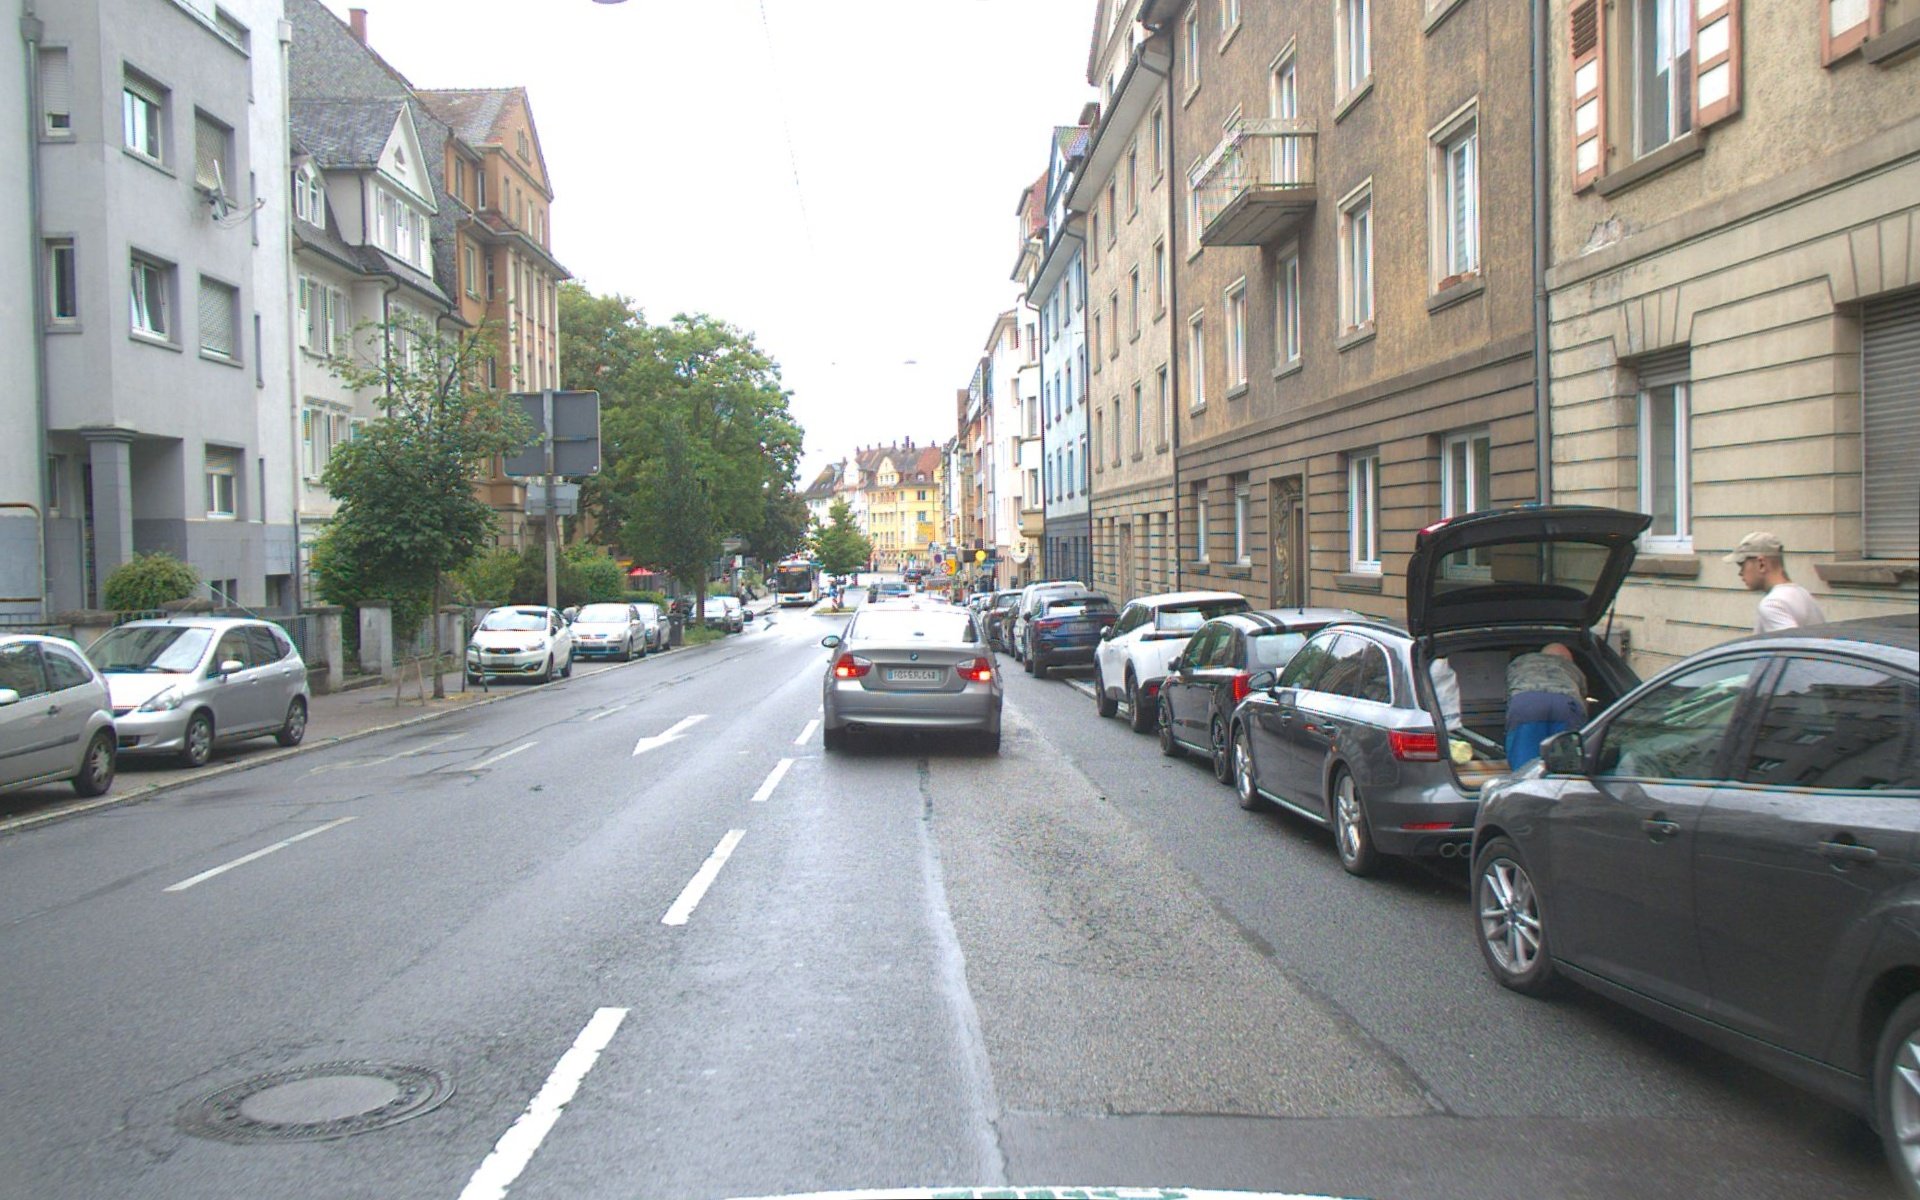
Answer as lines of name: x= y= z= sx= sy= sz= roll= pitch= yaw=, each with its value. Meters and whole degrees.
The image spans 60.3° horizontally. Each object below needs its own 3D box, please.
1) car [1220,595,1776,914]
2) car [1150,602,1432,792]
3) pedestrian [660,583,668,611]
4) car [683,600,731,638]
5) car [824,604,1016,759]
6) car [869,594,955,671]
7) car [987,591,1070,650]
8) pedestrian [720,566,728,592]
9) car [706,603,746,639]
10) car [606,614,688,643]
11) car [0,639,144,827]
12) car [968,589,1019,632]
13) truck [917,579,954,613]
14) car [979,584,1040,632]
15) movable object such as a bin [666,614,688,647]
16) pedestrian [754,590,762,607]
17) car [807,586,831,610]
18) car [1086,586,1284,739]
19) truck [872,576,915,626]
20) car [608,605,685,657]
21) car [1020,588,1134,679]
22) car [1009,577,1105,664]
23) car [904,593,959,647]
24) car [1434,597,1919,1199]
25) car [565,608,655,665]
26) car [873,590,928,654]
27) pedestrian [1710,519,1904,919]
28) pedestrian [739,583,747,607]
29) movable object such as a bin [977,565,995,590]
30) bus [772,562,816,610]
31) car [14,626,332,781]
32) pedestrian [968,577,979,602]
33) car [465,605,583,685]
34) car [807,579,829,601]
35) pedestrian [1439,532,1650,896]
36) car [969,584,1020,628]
car: x=3.005 y=0.774 z=10.400 sx=1.742 sy=1.505 sz=4.584 roll=-2 pitch=-1 yaw=-3
car: x=2.903 y=0.790 z=15.266 sx=1.600 sy=1.504 sz=3.732 roll=2 pitch=0 yaw=-4
pedestrian: x=-19.758 y=-0.204 z=110.512 sx=0.456 sy=1.821 sz=0.543 roll=2 pitch=-1 yaw=-9
car: x=-10.546 y=0.768 z=69.225 sx=1.621 sy=1.479 sz=3.939 roll=-1 pitch=0 yaw=-4
car: x=-0.419 y=0.751 z=16.461 sx=1.720 sy=1.386 sz=3.163 roll=0 pitch=-1 yaw=-2
car: x=-1.027 y=0.656 z=33.824 sx=1.570 sy=1.445 sz=3.284 roll=2 pitch=-1 yaw=-5
car: x=1.829 y=0.524 z=45.540 sx=1.804 sy=1.433 sz=4.385 roll=-3 pitch=0 yaw=-3
pedestrian: x=-17.164 y=-1.534 z=120.379 sx=0.533 sy=1.821 sz=0.507 roll=2 pitch=-1 yaw=-11
car: x=-10.464 y=0.919 z=74.048 sx=1.600 sy=1.479 sz=3.835 roll=-1 pitch=0 yaw=-6
car: x=-15.311 y=1.406 z=81.065 sx=3.740 sy=1.414 sz=1.741 roll=0 pitch=-1 yaw=-3
car: x=-8.248 y=1.064 z=13.331 sx=1.569 sy=1.421 sz=3.885 roll=-1 pitch=-1 yaw=-3
car: x=1.312 y=0.414 z=66.625 sx=1.781 sy=1.585 sz=4.291 roll=-3 pitch=0 yaw=-2
truck: x=-1.656 y=-0.262 z=109.972 sx=2.172 sy=2.153 sz=4.648 roll=3 pitch=0 yaw=-4
car: x=1.627 y=0.246 z=55.562 sx=1.695 sy=1.454 sz=3.972 roll=-4 pitch=1 yaw=-3
movable object such as a bin: x=-9.446 y=1.017 z=55.247 sx=0.617 sy=1.076 sz=0.600 roll=-2 pitch=-1 yaw=-2
pedestrian: x=-16.221 y=-0.109 z=132.872 sx=0.607 sy=1.402 sz=0.544 roll=2 pitch=-1 yaw=-1
car: x=-12.249 y=-0.175 z=143.556 sx=1.954 sy=2.049 sz=3.997 roll=1 pitch=-1 yaw=-3
car: x=2.667 y=0.698 z=20.522 sx=1.600 sy=1.667 sz=4.192 roll=2 pitch=0 yaw=-4
truck: x=-3.644 y=0.079 z=89.611 sx=2.172 sy=2.589 sz=4.776 roll=2 pitch=-1 yaw=-3
car: x=-9.464 y=0.906 z=50.151 sx=1.649 sy=1.414 sz=3.934 roll=-2 pitch=0 yaw=-2
car: x=2.212 y=0.594 z=32.376 sx=1.754 sy=1.575 sz=4.224 roll=-3 pitch=0 yaw=-2
car: x=2.208 y=0.444 z=38.717 sx=1.755 sy=1.849 sz=4.078 roll=-3 pitch=0 yaw=-3
car: x=-0.765 y=0.554 z=45.206 sx=1.406 sy=1.380 sz=3.761 roll=2 pitch=-1 yaw=-1
car: x=3.094 y=0.749 z=5.061 sx=1.743 sy=1.505 sz=4.185 roll=-2 pitch=-1 yaw=-5
car: x=-9.289 y=0.942 z=44.154 sx=1.649 sy=1.414 sz=3.908 roll=0 pitch=0 yaw=-2
car: x=-2.081 y=0.751 z=56.639 sx=1.671 sy=2.049 sz=3.996 roll=2 pitch=-1 yaw=-5
pedestrian: x=4.059 y=0.554 z=7.975 sx=0.697 sy=1.818 sz=0.686 roll=-4 pitch=-1 yaw=25
pedestrian: x=-15.354 y=-0.348 z=117.099 sx=0.533 sy=1.739 sz=0.465 roll=2 pitch=-1 yaw=-9
movable object such as a bin: x=1.831 y=-1.573 z=117.204 sx=1.100 sy=1.732 sz=1.432 roll=-2 pitch=-1 yaw=-5
bus: x=-12.227 y=-0.961 z=122.941 sx=2.628 sy=3.256 sz=11.947 roll=2 pitch=-1 yaw=-3
car: x=-8.515 y=1.053 z=18.283 sx=1.567 sy=1.476 sz=3.888 roll=-1 pitch=-1 yaw=1
pedestrian: x=0.950 y=-0.738 z=116.076 sx=0.734 sy=1.690 sz=0.755 roll=1 pitch=-1 yaw=4
car: x=-8.878 y=0.896 z=33.961 sx=1.613 sy=1.534 sz=3.793 roll=-1 pitch=-1 yaw=-4
car: x=-13.654 y=-0.943 z=158.855 sx=1.954 sy=2.049 sz=3.997 roll=2 pitch=-1 yaw=-3
pedestrian: x=2.980 y=0.569 z=8.498 sx=0.618 sy=1.719 sz=0.635 roll=-8 pitch=-2 yaw=-1
car: x=1.230 y=0.200 z=60.317 sx=1.551 sy=1.454 sz=3.593 roll=-4 pitch=1 yaw=-3
